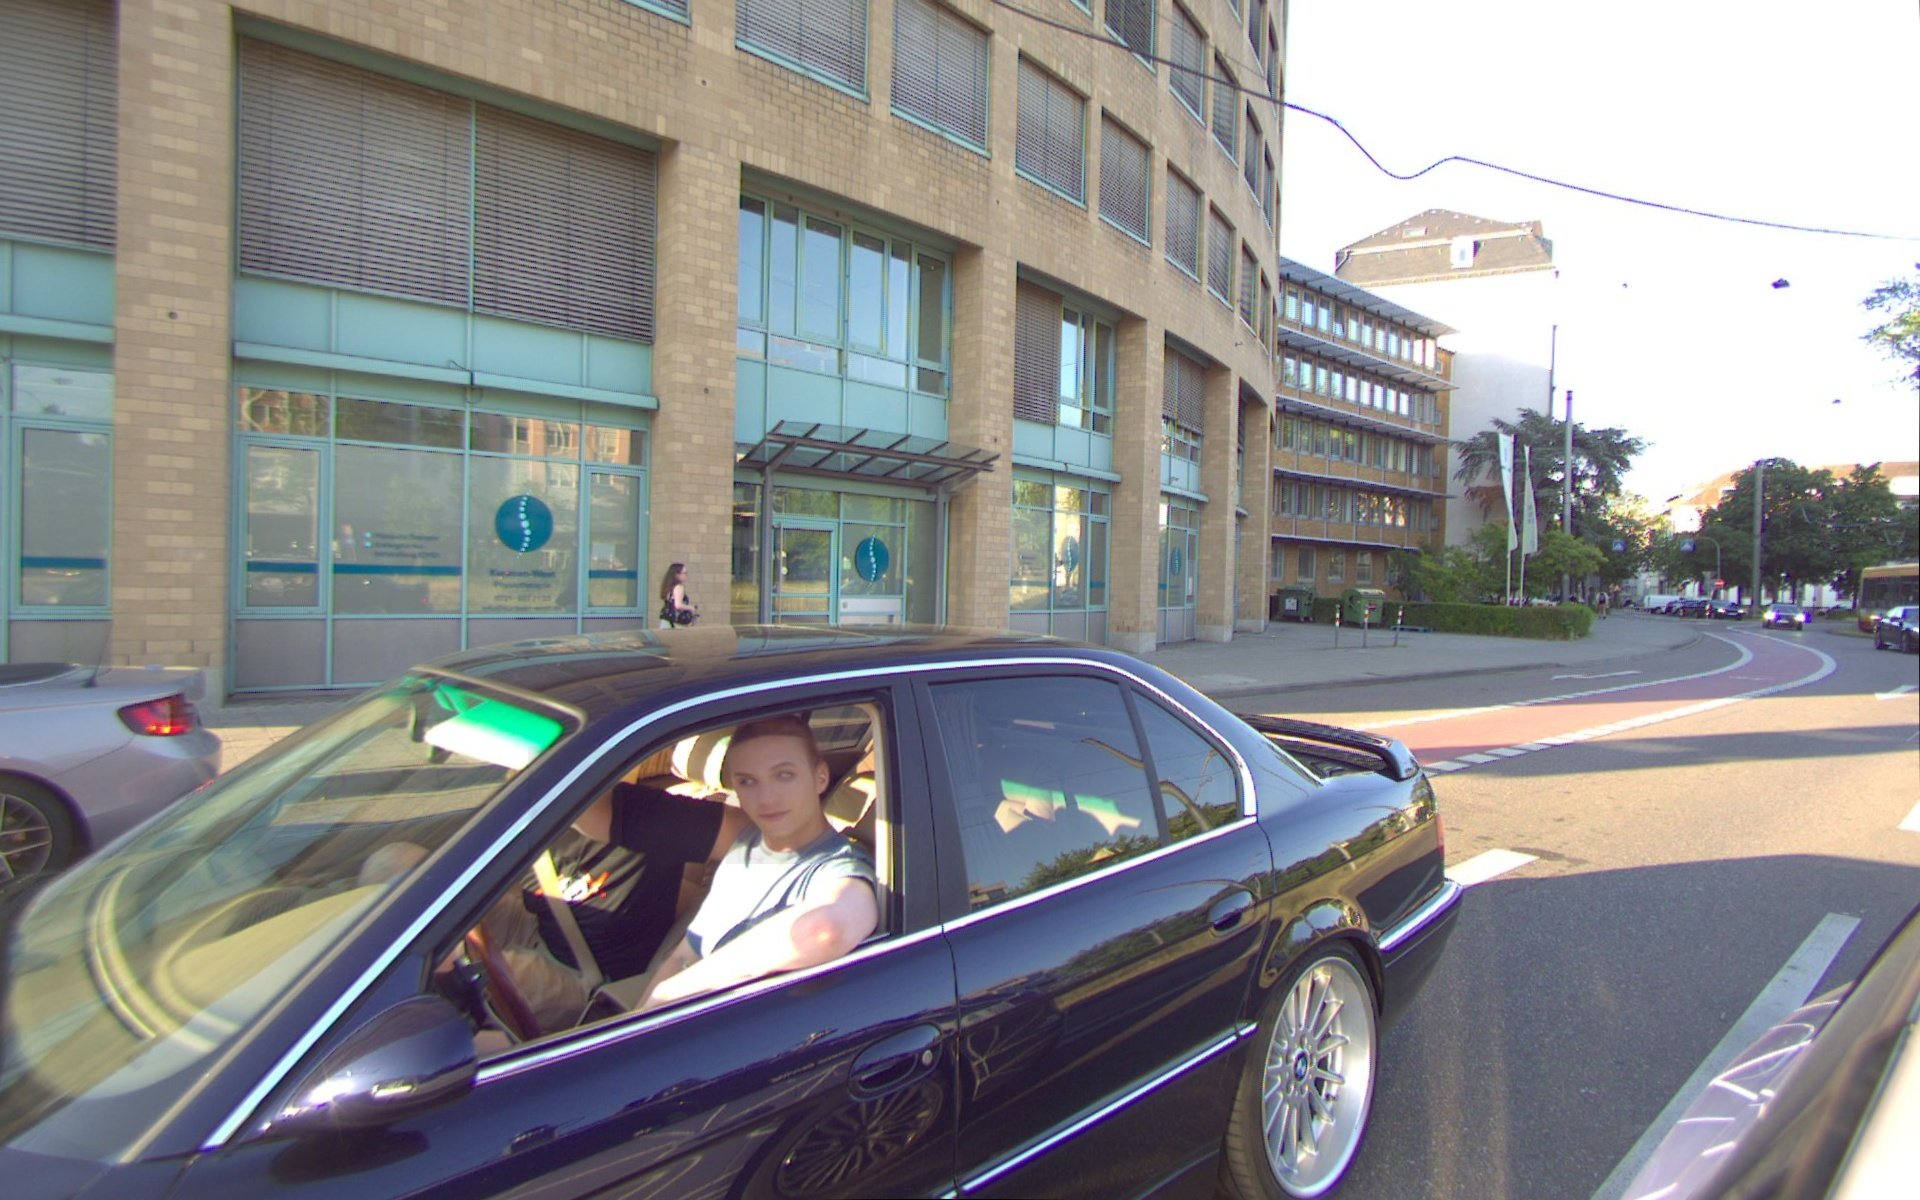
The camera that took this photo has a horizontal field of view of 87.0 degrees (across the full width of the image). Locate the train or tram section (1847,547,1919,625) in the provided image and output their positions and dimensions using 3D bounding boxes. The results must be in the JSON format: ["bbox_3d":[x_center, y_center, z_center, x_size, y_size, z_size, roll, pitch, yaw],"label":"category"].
[{"bbox_3d":[49.745,-0.735,53.856,2.871,3.785,12.019,2,1,37],"label":"train or tram section"}]

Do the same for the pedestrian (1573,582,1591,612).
[{"bbox_3d":[37.908,-0.169,61.690,0.711,1.830,0.728,0,1,-41],"label":"pedestrian"}]

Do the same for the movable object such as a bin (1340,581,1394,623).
[{"bbox_3d":[14.869,0.073,36.958,1.311,1.477,1.424,0,1,-45],"label":"movable object such as a bin"}]

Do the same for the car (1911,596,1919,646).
[{"bbox_3d":[32.201,0.688,32.506,4.622,1.554,1.896,0,2,-41],"label":"car"}]

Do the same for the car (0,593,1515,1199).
[{"bbox_3d":[-0.715,0.701,2.327,4.656,1.402,1.997,0,1,-41],"label":"car"}]

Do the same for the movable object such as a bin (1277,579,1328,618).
[{"bbox_3d":[13.352,-0.080,39.502,1.310,1.477,1.425,0,1,-43],"label":"movable object such as a bin"}]

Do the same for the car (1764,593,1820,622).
[{"bbox_3d":[46.740,0.408,56.938,1.986,1.479,4.093,2,2,34],"label":"car"}]

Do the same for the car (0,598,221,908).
[{"bbox_3d":[-5.911,0.700,4.470,4.153,1.403,1.746,0,0,-41],"label":"car"}]

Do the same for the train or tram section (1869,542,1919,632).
[{"bbox_3d":[42.999,-0.532,43.940,2.896,3.785,13.068,2,1,32],"label":"train or tram section"}]

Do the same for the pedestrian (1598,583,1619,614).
[{"bbox_3d":[40.546,-0.118,63.282,0.901,1.918,1.118,1,1,22],"label":"pedestrian"}]

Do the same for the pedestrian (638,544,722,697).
[{"bbox_3d":[-3.238,0.221,11.708,0.702,1.702,0.626,0,1,-44],"label":"pedestrian"}]

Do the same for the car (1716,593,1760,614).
[{"bbox_3d":[54.639,0.217,71.016,3.932,1.405,1.756,0,-2,-42],"label":"car"}]
